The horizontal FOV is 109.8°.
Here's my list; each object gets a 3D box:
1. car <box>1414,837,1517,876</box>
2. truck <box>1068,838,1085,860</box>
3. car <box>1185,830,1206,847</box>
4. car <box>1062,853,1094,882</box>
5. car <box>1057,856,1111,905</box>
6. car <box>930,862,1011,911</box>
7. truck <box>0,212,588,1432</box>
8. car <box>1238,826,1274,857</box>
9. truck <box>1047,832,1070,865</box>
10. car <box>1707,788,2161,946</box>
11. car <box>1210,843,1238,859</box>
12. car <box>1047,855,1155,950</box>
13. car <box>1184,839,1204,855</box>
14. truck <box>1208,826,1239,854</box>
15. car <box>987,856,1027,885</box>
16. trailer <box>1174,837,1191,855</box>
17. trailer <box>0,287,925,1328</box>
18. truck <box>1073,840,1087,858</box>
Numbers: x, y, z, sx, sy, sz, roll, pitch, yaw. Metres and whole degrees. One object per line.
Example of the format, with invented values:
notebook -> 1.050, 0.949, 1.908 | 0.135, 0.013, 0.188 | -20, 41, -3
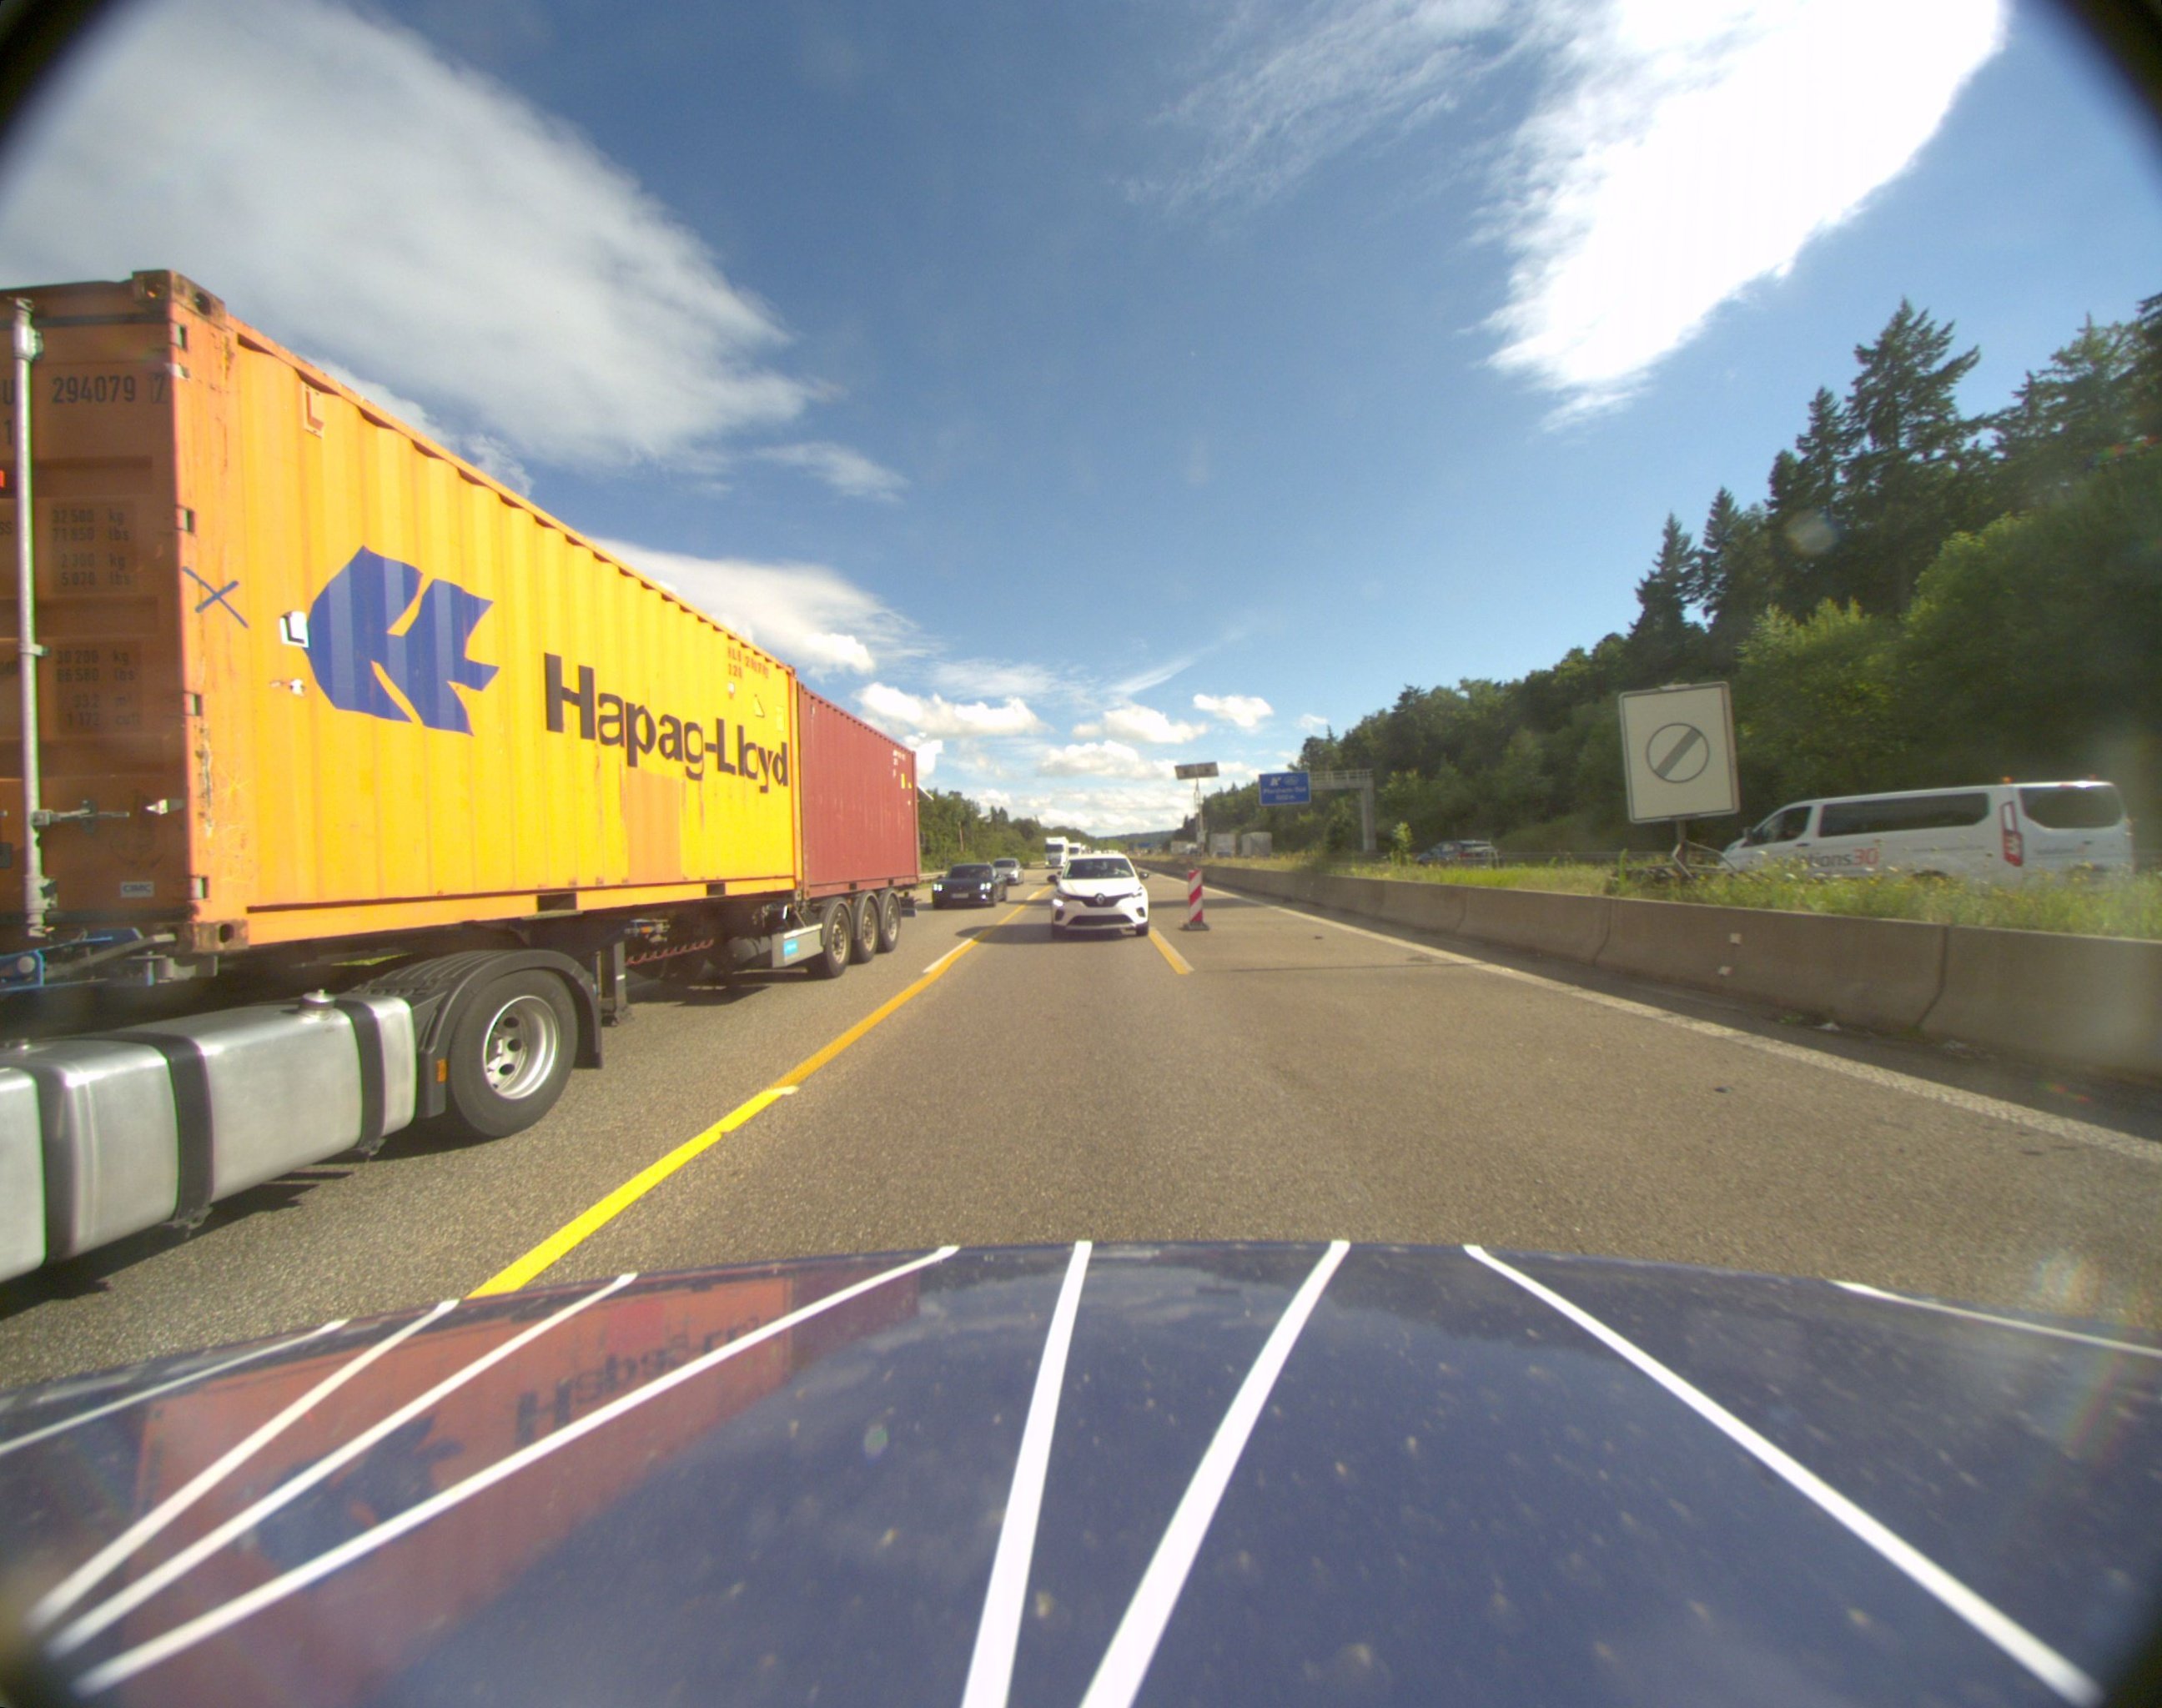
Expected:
car -> 15.145, 0.070, 30.220 | 1.963, 1.355, 4.287 | -2, 1, 1
truck -> -0.834, -1.022, 149.421 | 2.640, 4.092, 8.196 | -2, 0, 3
car -> 17.045, -2.257, 113.747 | 2.165, 2.437, 6.331 | -3, 1, 1
car -> -0.128, 0.737, 43.532 | 1.633, 1.548, 3.754 | -2, 0, 1
car -> 0.139, 0.854, 26.200 | 1.692, 1.471, 3.754 | -2, 1, 1
car -> -3.566, 1.025, 25.321 | 1.933, 1.342, 4.477 | -2, 0, 1
truck -> -4.575, -0.090, 2.079 | 2.501, 3.759, 5.789 | -2, 1, 0
car -> 20.461, -1.457, 89.262 | 2.493, 3.351, 7.451 | -2, 1, 0
truck -> -2.904, -0.685, 100.272 | 2.641, 4.092, 8.194 | -2, 0, 0
car -> 13.275, 0.156, 12.382 | 1.999, 2.002, 4.830 | -2, 0, -2
car -> 13.077, -0.295, 69.630 | 1.783, 1.379, 4.310 | -2, 1, 1
car -> 0.343, 0.856, 15.203 | 1.840, 1.528, 3.882 | -2, 1, 0
car -> 14.181, -0.881, 95.617 | 1.949, 1.802, 4.118 | -2, 1, 1
truck -> 21.489, -2.103, 115.370 | 2.807, 3.969, 10.185 | -2, 0, 1
car -> -4.140, 0.921, 43.198 | 1.762, 1.471, 3.967 | -2, 1, 1
trailer -> 23.549, -1.915, 177.239 | 2.797, 3.901, 8.487 | -2, 1, 1
trailer -> -4.483, -0.144, 8.836 | 2.477, 3.753, 12.135 | -2, 0, 1
truck -> -0.142, -1.177, 179.350 | 2.640, 4.092, 8.196 | -2, 0, 3
